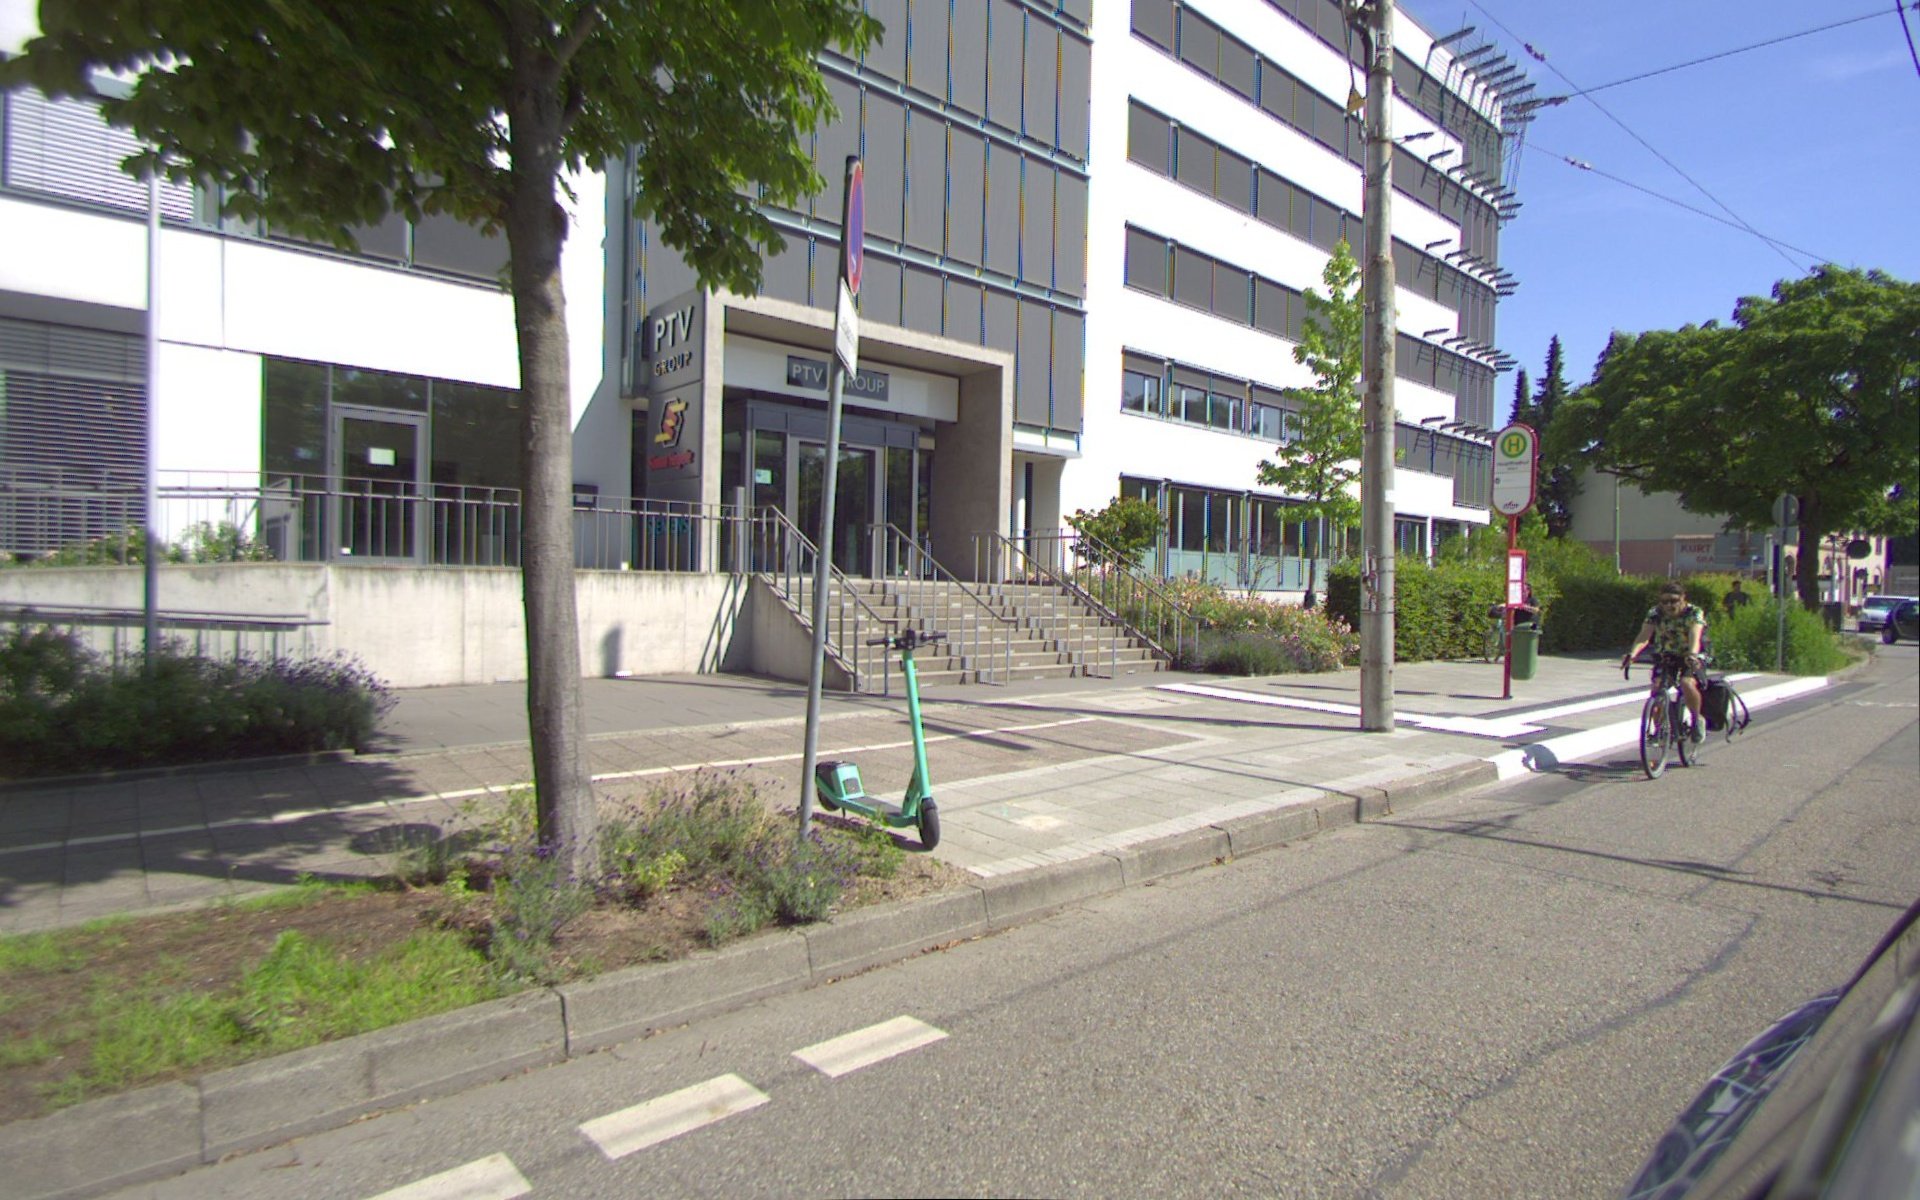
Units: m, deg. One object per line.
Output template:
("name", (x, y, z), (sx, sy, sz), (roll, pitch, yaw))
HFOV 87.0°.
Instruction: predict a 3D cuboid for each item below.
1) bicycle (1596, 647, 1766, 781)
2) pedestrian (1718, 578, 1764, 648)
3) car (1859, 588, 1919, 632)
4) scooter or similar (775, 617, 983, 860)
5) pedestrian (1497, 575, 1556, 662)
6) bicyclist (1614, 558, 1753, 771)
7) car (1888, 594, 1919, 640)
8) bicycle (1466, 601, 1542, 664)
("bicycle", (6.461, 0.962, 9.025), (2.123, 0.996, 0.610), (0, 0, -37))
("pedestrian", (21.107, 0.337, 27.360), (0.889, 1.841, 1.057), (1, 0, 43))
("car", (46.758, 0.472, 50.497), (4.820, 2.038, 2.089), (0, 2, -39))
("scooter or similar", (-0.487, 0.714, 5.787), (0.663, 1.181, 1.129), (1, 1, -38))
("pedestrian", (10.705, 0.332, 19.116), (0.686, 1.582, 0.972), (3, 2, 45))
("bicyclist", (6.356, 0.524, 8.890), (0.969, 1.746, 0.718), (1, 0, -37))
("car", (33.421, 0.606, 34.412), (1.458, 1.557, 2.963), (1, 1, 14))
("bicycle", (10.503, 0.597, 19.524), (2.031, 1.131, 0.637), (0, 1, -42))
